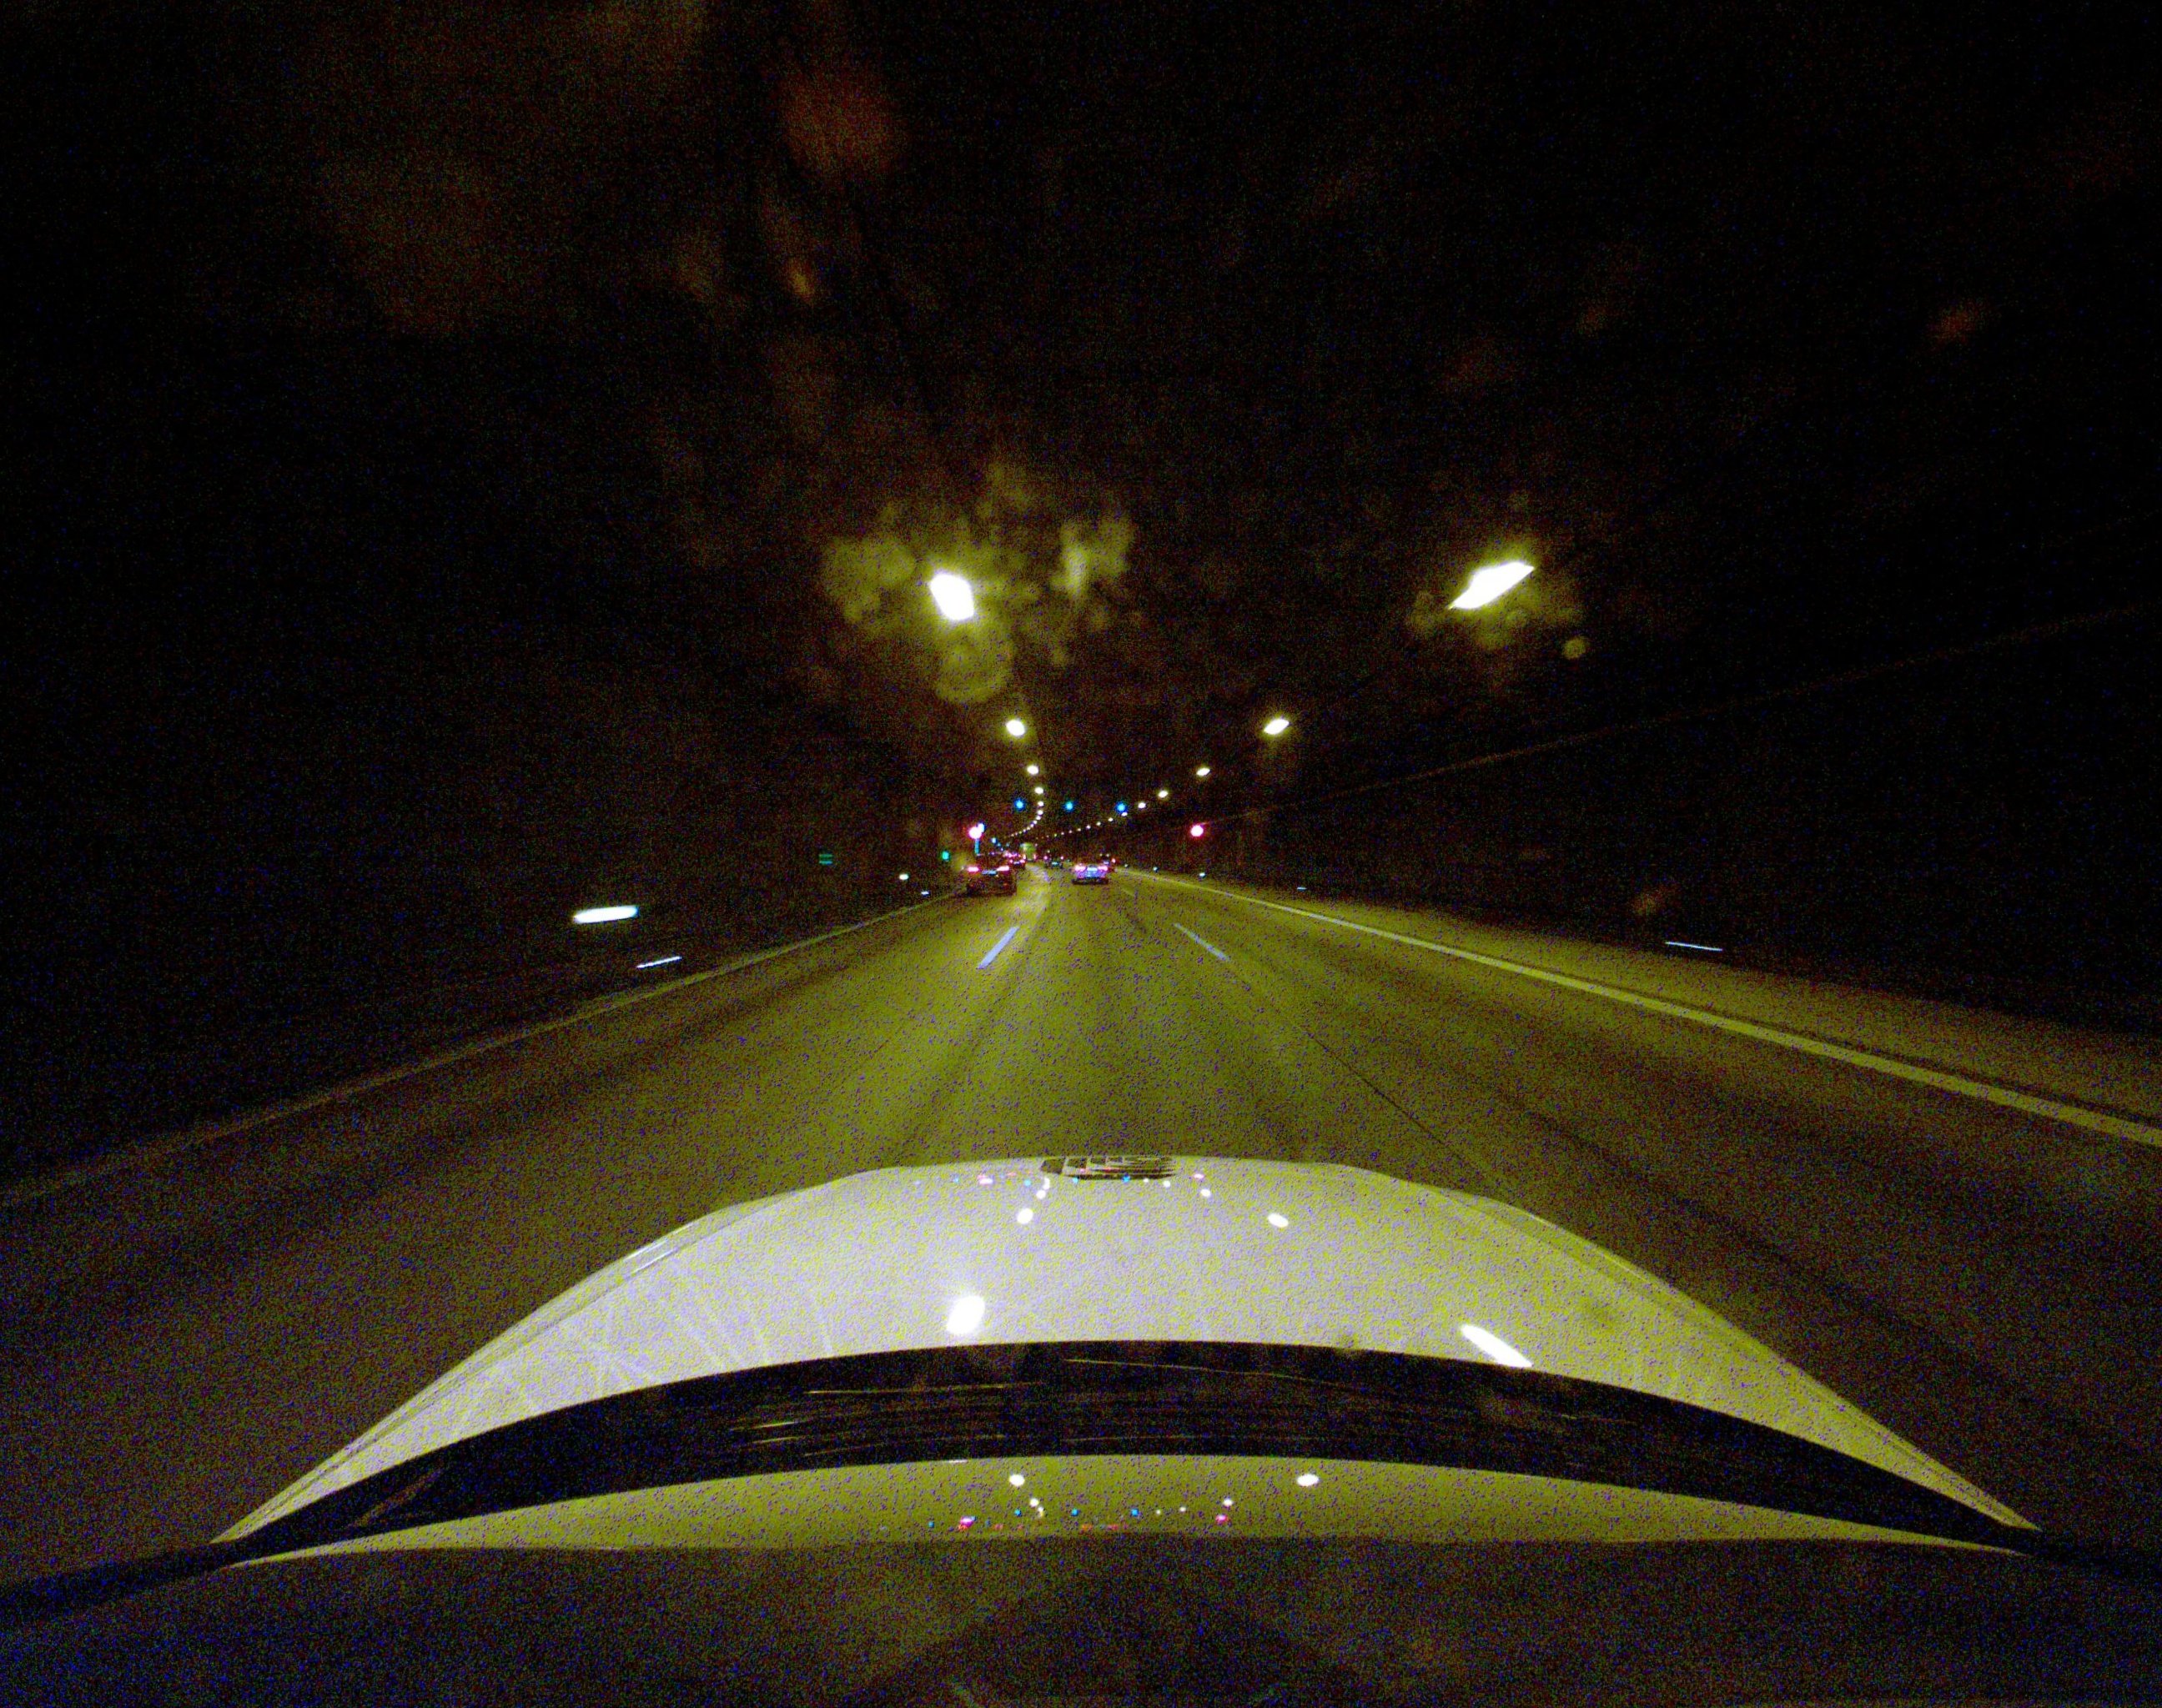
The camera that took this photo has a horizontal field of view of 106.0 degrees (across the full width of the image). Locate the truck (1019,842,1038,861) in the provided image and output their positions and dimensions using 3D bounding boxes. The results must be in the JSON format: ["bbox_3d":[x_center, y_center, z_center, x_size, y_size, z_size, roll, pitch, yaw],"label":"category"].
[{"bbox_3d":[-8.964,-0.467,137.660,3.077,3.113,10.013,1,1,-5],"label":"truck"}]

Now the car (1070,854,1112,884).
[{"bbox_3d":[0.476,0.762,42.757,1.989,1.483,3.996,0,0,-3],"label":"car"}]

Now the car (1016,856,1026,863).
[{"bbox_3d":[-14.789,1.318,199.386,1.994,1.754,3.986,1,-1,-10],"label":"car"}]

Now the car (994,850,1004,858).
[{"bbox_3d":[-17.569,-0.002,175.126,1.992,1.530,3.989,1,-1,-8],"label":"car"}]

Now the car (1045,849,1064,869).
[{"bbox_3d":[-2.798,0.527,85.729,1.988,1.972,3.997,-1,0,-2],"label":"car"}]

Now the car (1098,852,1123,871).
[{"bbox_3d":[2.521,0.623,69.845,1.835,1.602,3.996,0,0,-3],"label":"car"}]

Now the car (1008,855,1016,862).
[{"bbox_3d":[-16.035,1.054,189.375,1.990,1.754,3.994,1,-1,-4],"label":"car"}]

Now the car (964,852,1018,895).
[{"bbox_3d":[-3.505,0.732,32.310,1.780,1.598,3.799,-1,0,-2],"label":"car"}]

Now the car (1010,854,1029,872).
[{"bbox_3d":[-5.892,0.842,77.938,1.797,1.684,3.994,0,0,-4],"label":"car"}]
